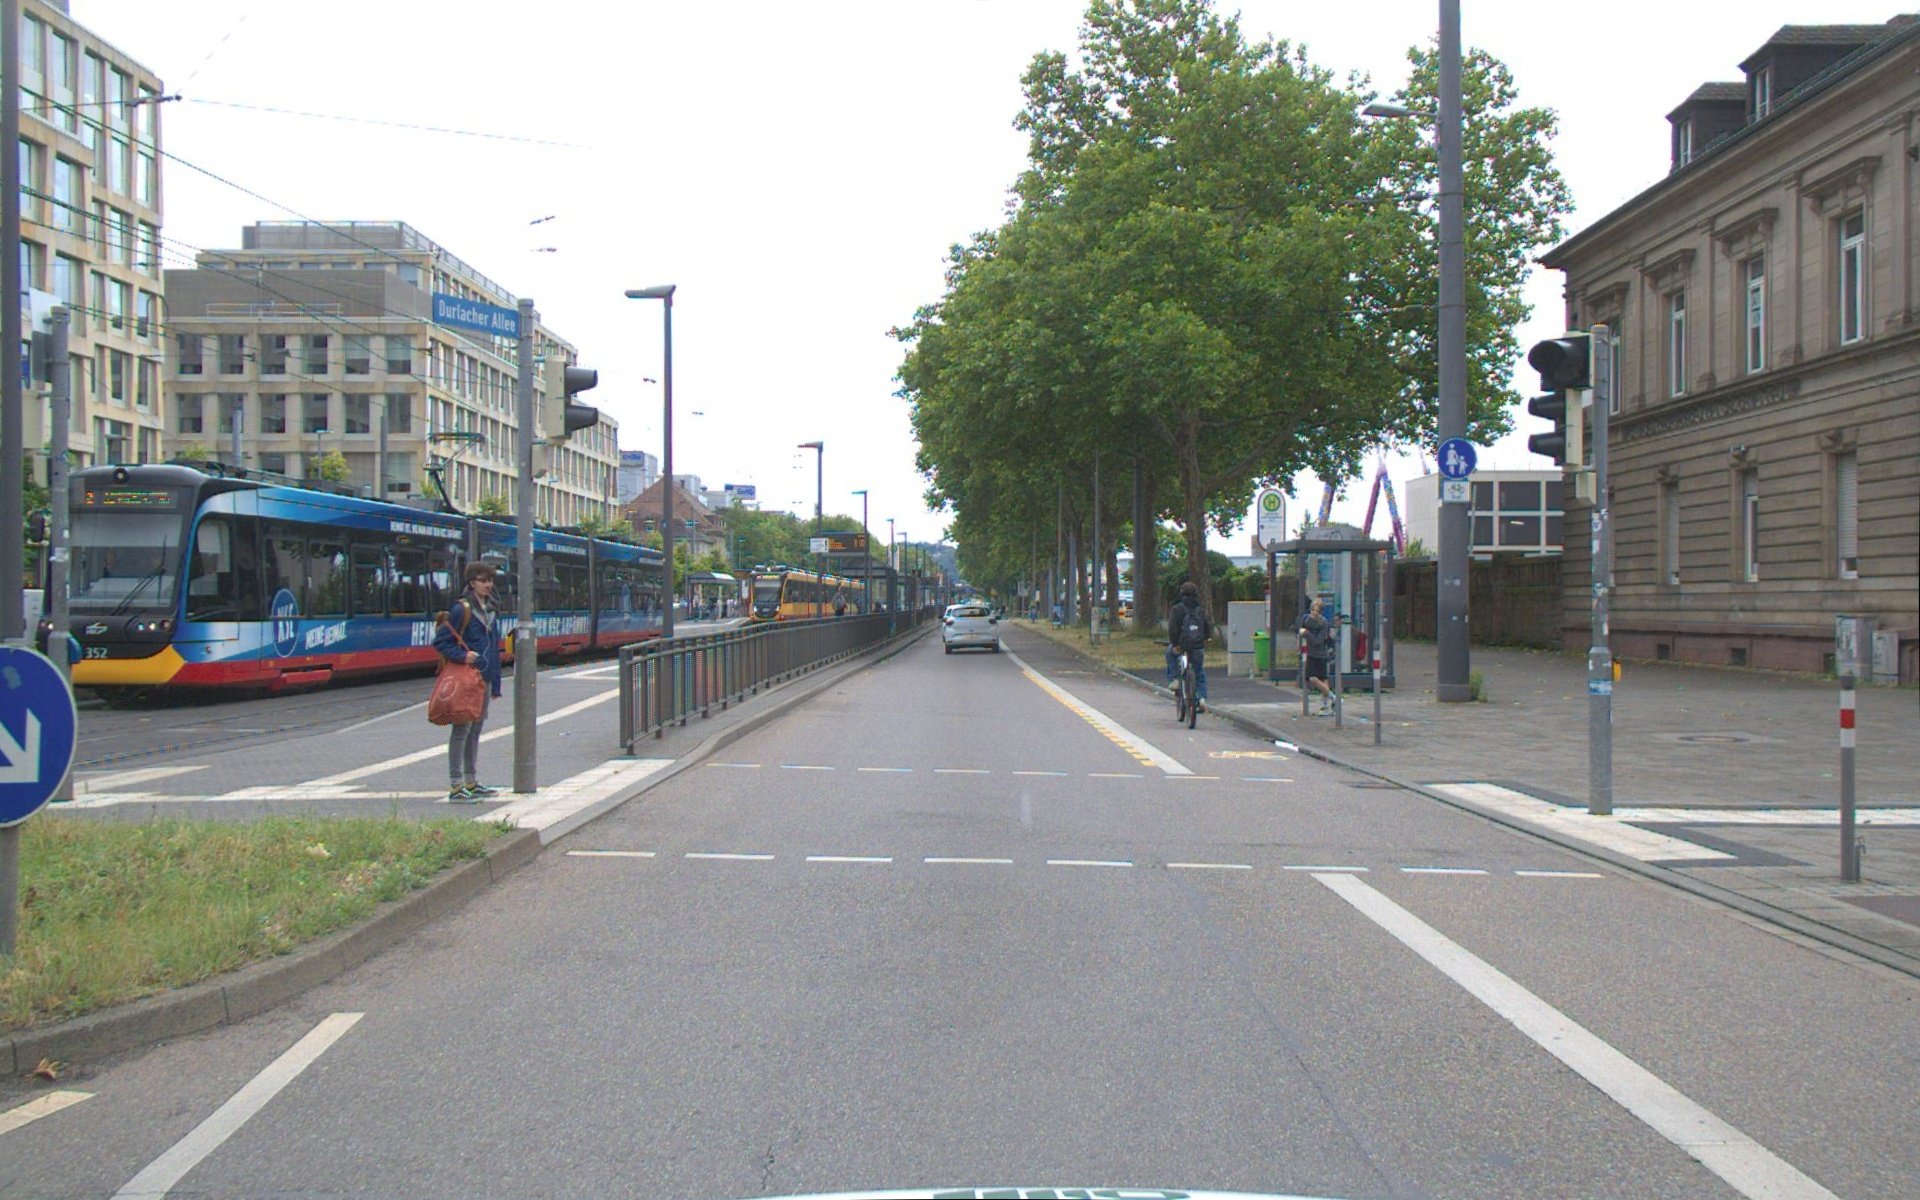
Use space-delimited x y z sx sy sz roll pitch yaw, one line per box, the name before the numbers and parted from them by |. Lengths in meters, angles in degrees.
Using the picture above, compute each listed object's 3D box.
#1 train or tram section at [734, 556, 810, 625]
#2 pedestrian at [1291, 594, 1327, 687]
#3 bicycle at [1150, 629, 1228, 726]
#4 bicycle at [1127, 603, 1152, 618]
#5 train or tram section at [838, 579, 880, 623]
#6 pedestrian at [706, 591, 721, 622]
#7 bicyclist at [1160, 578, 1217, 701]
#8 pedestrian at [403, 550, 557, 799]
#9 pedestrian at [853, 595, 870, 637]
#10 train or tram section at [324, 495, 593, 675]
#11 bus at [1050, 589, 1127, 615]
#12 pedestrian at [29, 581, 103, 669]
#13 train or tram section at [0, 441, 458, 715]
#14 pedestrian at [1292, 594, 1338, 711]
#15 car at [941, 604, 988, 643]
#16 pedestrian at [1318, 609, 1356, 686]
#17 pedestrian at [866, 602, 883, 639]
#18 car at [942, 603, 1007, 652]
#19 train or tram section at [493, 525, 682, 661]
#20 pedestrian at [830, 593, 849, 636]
train or tram section | -11.352 -0.471 101.105 3.171 3.930 11.311 0 -1 1
pedestrian | 6.057 0.696 28.744 0.467 1.591 0.702 0 -1 0
bicycle | 2.931 0.969 21.381 0.639 1.170 2.282 0 -1 -1
bicycle | 13.958 0.845 128.808 1.882 1.110 0.550 -2 -1 -1
train or tram section | -10.187 0.150 168.488 3.115 4.252 14.734 0 -1 1
pedestrian | -14.706 0.400 98.577 0.697 1.827 1.160 0 -1 -1
bicyclist | 2.947 0.501 21.371 0.628 1.558 0.664 0 -1 -2
pedestrian | -3.372 0.505 11.615 0.853 1.671 0.643 1 -1 -42
pedestrian | -4.300 0.702 71.898 0.657 1.825 1.111 0 -1 -8
train or tram section | -11.685 -0.229 40.114 2.796 3.704 11.700 0 -1 1
bus | 15.603 0.219 201.253 9.090 3.012 1.999 0 -1 -2
pedestrian | -16.755 0.468 31.017 0.827 1.613 0.911 -1 -1 14
train or tram section | -11.768 -0.216 28.378 2.796 3.704 11.763 0 -1 0
pedestrian | 4.787 0.700 22.280 0.540 1.555 0.638 -1 -1 18
car | 0.216 0.949 68.890 1.802 1.579 4.001 0 0 2
pedestrian | 6.260 0.782 27.500 0.467 1.255 0.702 0 -1 0
pedestrian | -3.189 0.756 61.807 0.598 1.364 0.600 0 -1 1
car | 0.500 0.879 53.000 1.846 1.478 4.002 -1 -1 4
train or tram section | -11.478 -0.105 52.727 2.796 3.757 13.520 0 -1 1
pedestrian | -5.151 0.625 70.897 0.658 1.825 1.109 0 -1 -12
